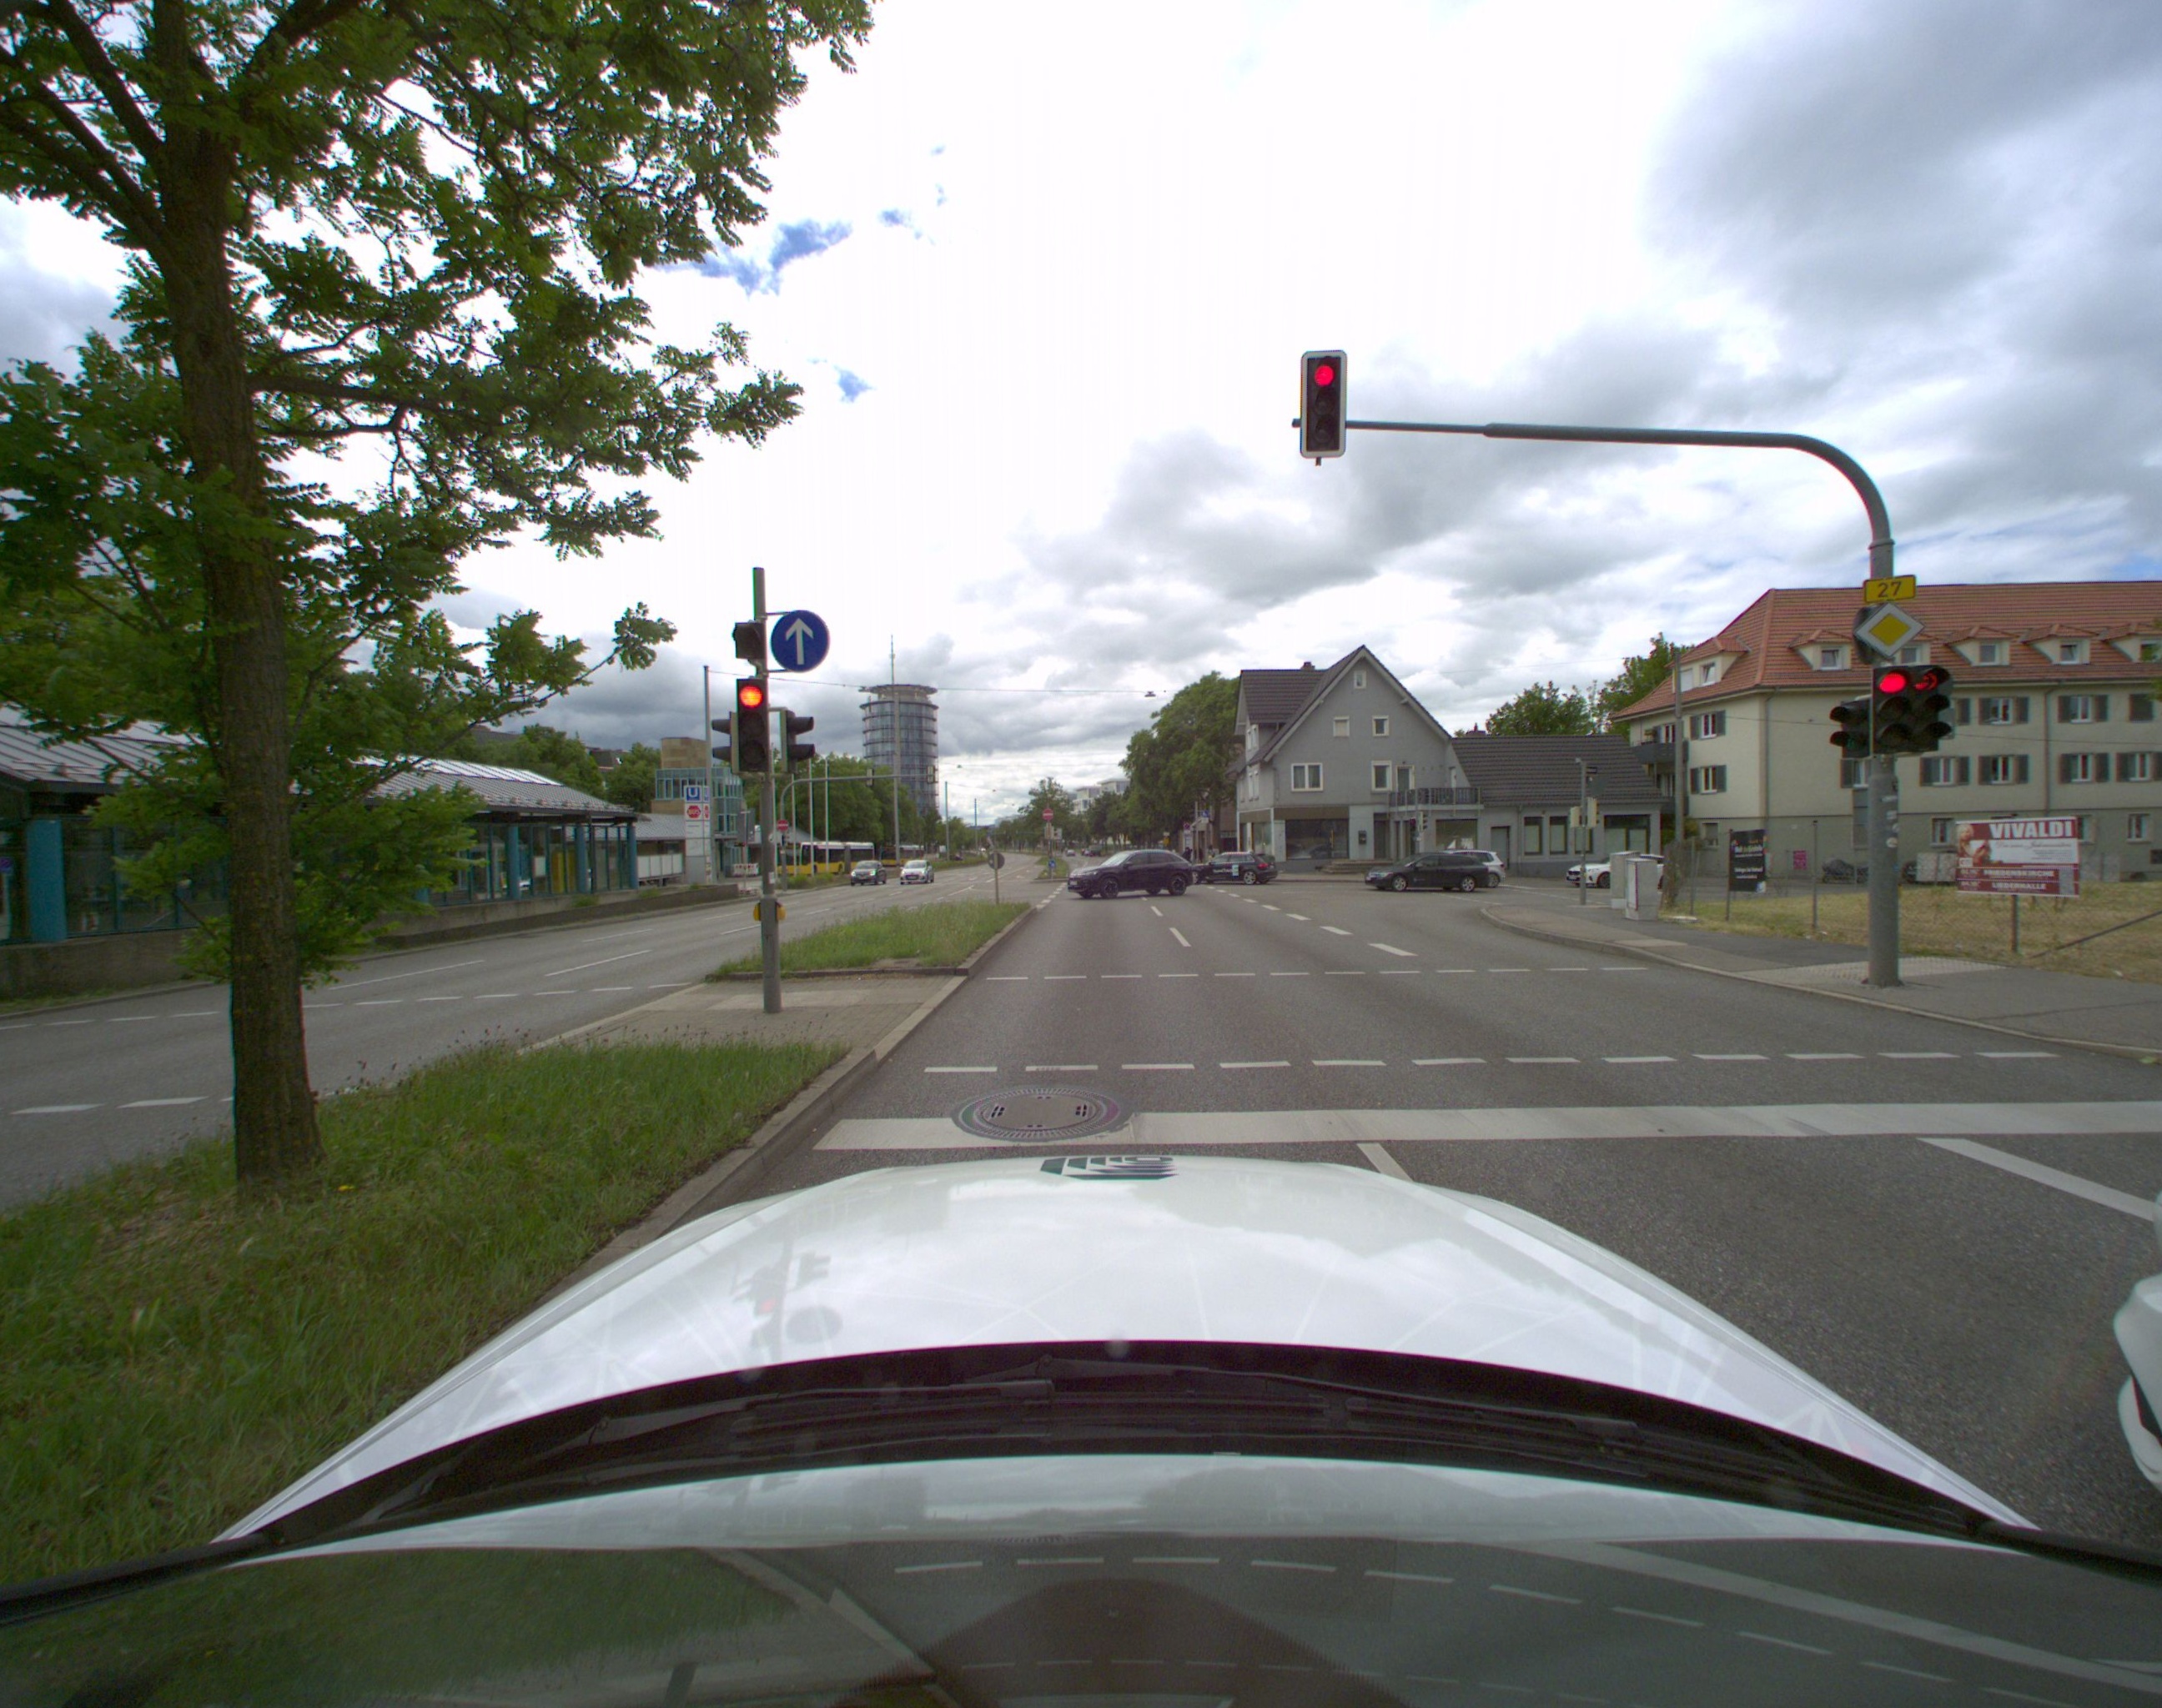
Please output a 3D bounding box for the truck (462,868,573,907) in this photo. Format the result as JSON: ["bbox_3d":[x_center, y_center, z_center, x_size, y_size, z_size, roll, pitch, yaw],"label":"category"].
[{"bbox_3d":[-24.618,1.424,35.758,1.986,1.517,4.001,-2,0,1],"label":"truck"}]

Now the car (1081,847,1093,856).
[{"bbox_3d":[1.279,-0.539,174.106,2.246,1.647,4.927,-2,0,-3],"label":"car"}]

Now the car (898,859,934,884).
[{"bbox_3d":[-10.344,1.061,51.322,1.680,1.462,3.552,-2,0,-3],"label":"car"}]

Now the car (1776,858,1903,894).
[{"bbox_3d":[34.039,0.984,36.617,3.972,1.537,1.871,0,0,2],"label":"car"}]

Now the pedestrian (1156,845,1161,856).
[{"bbox_3d":[11.834,-0.555,124.267,0.649,1.570,0.669,-2,0,-6],"label":"pedestrian"}]

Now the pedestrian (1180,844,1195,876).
[{"bbox_3d":[6.130,0.337,47.023,0.703,1.760,1.052,-2,0,1],"label":"pedestrian"}]

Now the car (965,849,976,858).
[{"bbox_3d":[-27.271,-0.149,201.216,1.958,2.014,4.001,0,-1,2],"label":"car"}]

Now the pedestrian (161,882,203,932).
[{"bbox_3d":[-28.888,1.697,26.183,0.630,1.571,0.663,-1,-1,9],"label":"pedestrian"}]

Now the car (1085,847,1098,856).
[{"bbox_3d":[2.084,-0.457,165.310,2.246,1.757,4.928,-2,0,-3],"label":"car"}]

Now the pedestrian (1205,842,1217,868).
[{"bbox_3d":[8.301,0.065,51.935,0.701,1.662,0.872,-2,0,10],"label":"pedestrian"}]

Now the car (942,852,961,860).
[{"bbox_3d":[-26.587,0.481,166.961,3.542,1.492,1.706,-2,0,-3],"label":"car"}]

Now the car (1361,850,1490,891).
[{"bbox_3d":[13.157,0.598,31.236,4.261,1.481,1.714,-1,1,-1],"label":"car"}]

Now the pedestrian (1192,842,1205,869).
[{"bbox_3d":[7.536,0.096,52.186,0.700,1.662,0.874,-2,0,16],"label":"pedestrian"}]

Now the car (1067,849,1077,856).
[{"bbox_3d":[-1.921,-0.337,173.472,1.963,1.420,4.017,-2,0,-3],"label":"car"}]

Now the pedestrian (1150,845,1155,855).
[{"bbox_3d":[10.938,-0.624,124.212,0.649,1.570,0.669,-2,0,-6],"label":"pedestrian"}]

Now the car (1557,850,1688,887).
[{"bbox_3d":[22.987,0.610,34.706,4.224,1.477,2.002,-1,0,3],"label":"car"}]

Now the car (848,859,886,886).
[{"bbox_3d":[-13.497,1.153,51.532,1.681,1.578,3.344,-2,0,-4],"label":"car"}]

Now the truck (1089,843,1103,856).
[{"bbox_3d":[2.877,-0.890,155.447,2.246,2.416,4.928,-1,0,-3],"label":"truck"}]

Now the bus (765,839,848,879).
[{"bbox_3d":[-24.329,0.412,72.866,2.975,3.250,10.186,-2,0,6],"label":"bus"}]

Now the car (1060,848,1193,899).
[{"bbox_3d":[1.546,0.613,27.502,4.079,1.521,1.826,-2,0,-25],"label":"car"}]

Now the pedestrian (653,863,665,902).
[{"bbox_3d":[-17.407,1.175,33.578,0.420,1.591,0.353,-2,0,-28],"label":"pedestrian"}]

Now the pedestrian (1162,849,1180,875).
[{"bbox_3d":[5.289,0.461,48.060,0.866,1.507,0.706,-2,0,-7],"label":"pedestrian"}]

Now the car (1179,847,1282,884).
[{"bbox_3d":[6.670,0.512,36.420,4.046,1.494,1.907,-2,0,32],"label":"car"}]

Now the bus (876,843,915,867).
[{"bbox_3d":[-26.102,0.111,115.316,3.135,3.225,10.282,-2,0,0],"label":"bus"}]

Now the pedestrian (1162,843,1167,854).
[{"bbox_3d":[12.757,-0.852,123.992,0.649,1.570,0.669,-2,0,-6],"label":"pedestrian"}]

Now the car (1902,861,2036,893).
[{"bbox_3d":[39.808,1.021,36.580,3.972,1.377,1.871,0,0,2],"label":"car"}]

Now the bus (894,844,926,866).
[{"bbox_3d":[-26.045,0.138,124.325,3.134,3.225,7.765,-2,0,0],"label":"bus"}]

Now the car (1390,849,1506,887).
[{"bbox_3d":[15.384,0.575,34.233,4.090,1.540,1.827,0,0,-2],"label":"car"}]

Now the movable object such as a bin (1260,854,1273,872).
[{"bbox_3d":[10.028,0.479,43.957,0.527,0.979,0.737,-2,0,2],"label":"movable object such as a bin"}]

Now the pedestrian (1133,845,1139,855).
[{"bbox_3d":[10.294,-0.757,152.613,0.967,2.014,0.981,0,-1,1],"label":"pedestrian"}]

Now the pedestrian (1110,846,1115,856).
[{"bbox_3d":[7.107,-0.683,182.161,0.930,2.308,1.008,0,-1,-8],"label":"pedestrian"}]

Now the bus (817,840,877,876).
[{"bbox_3d":[-23.358,0.380,81.866,2.975,3.270,7.889,-2,0,6],"label":"bus"}]

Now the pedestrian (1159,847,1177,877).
[{"bbox_3d":[5.215,0.462,48.821,0.866,1.780,0.706,-2,0,-7],"label":"pedestrian"}]
